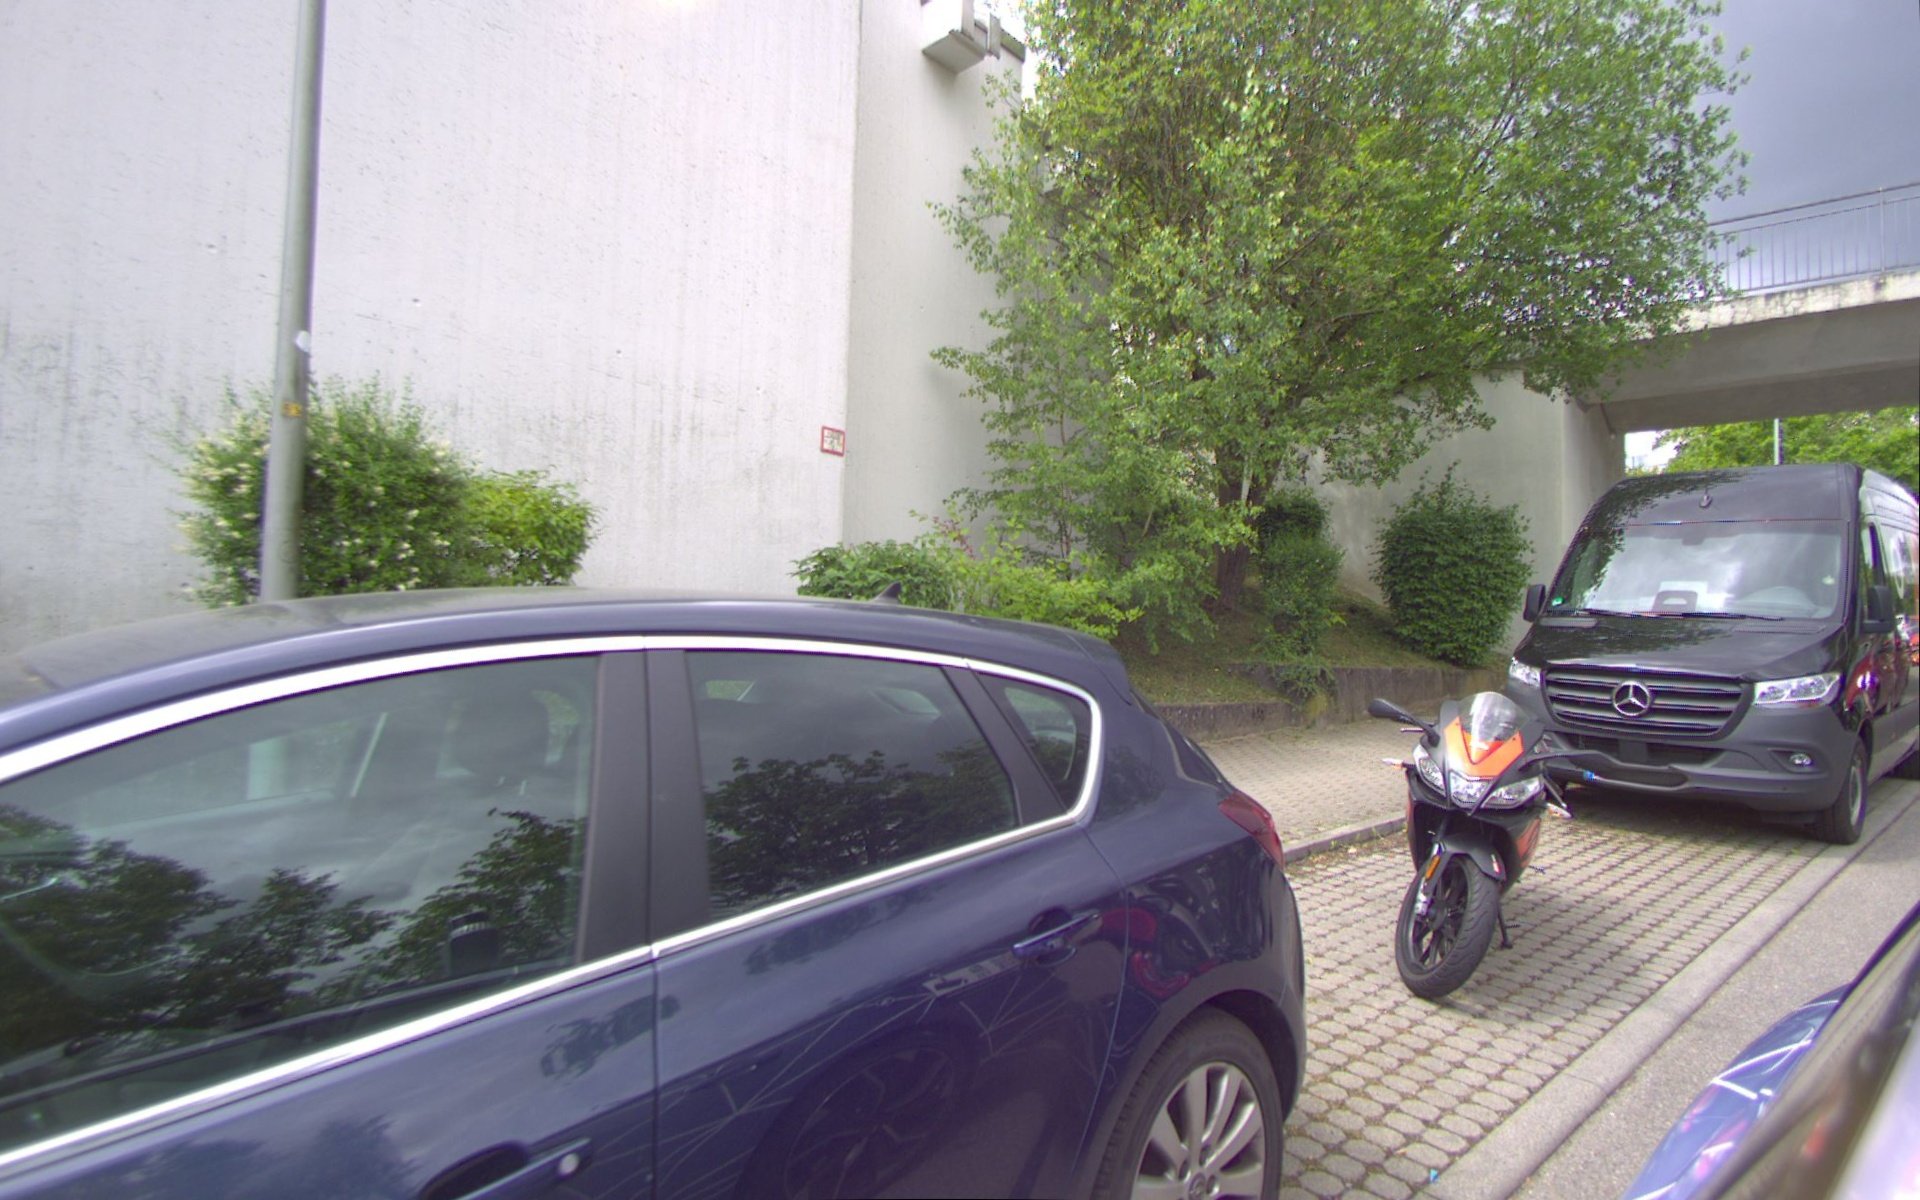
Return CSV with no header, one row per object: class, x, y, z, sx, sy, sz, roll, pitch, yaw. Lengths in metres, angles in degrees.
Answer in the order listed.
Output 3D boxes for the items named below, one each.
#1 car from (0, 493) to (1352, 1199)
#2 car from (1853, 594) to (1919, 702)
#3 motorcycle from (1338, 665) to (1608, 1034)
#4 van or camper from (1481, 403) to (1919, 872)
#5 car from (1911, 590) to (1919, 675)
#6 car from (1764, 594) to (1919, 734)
car,-1.166,0.625,1.506,3.931,1.438,1.693,0,0,-42
car,14.908,0.668,15.304,3.656,1.506,1.604,0,0,-40
motorcycle,2.273,0.892,4.342,0.706,1.081,1.905,0,0,37
van or camper,6.398,0.175,8.059,5.656,2.527,1.997,0,0,-40
car,19.477,0.597,19.265,3.656,1.562,1.604,0,0,-40
car,11.277,0.674,12.372,3.656,1.468,1.585,0,0,-40
